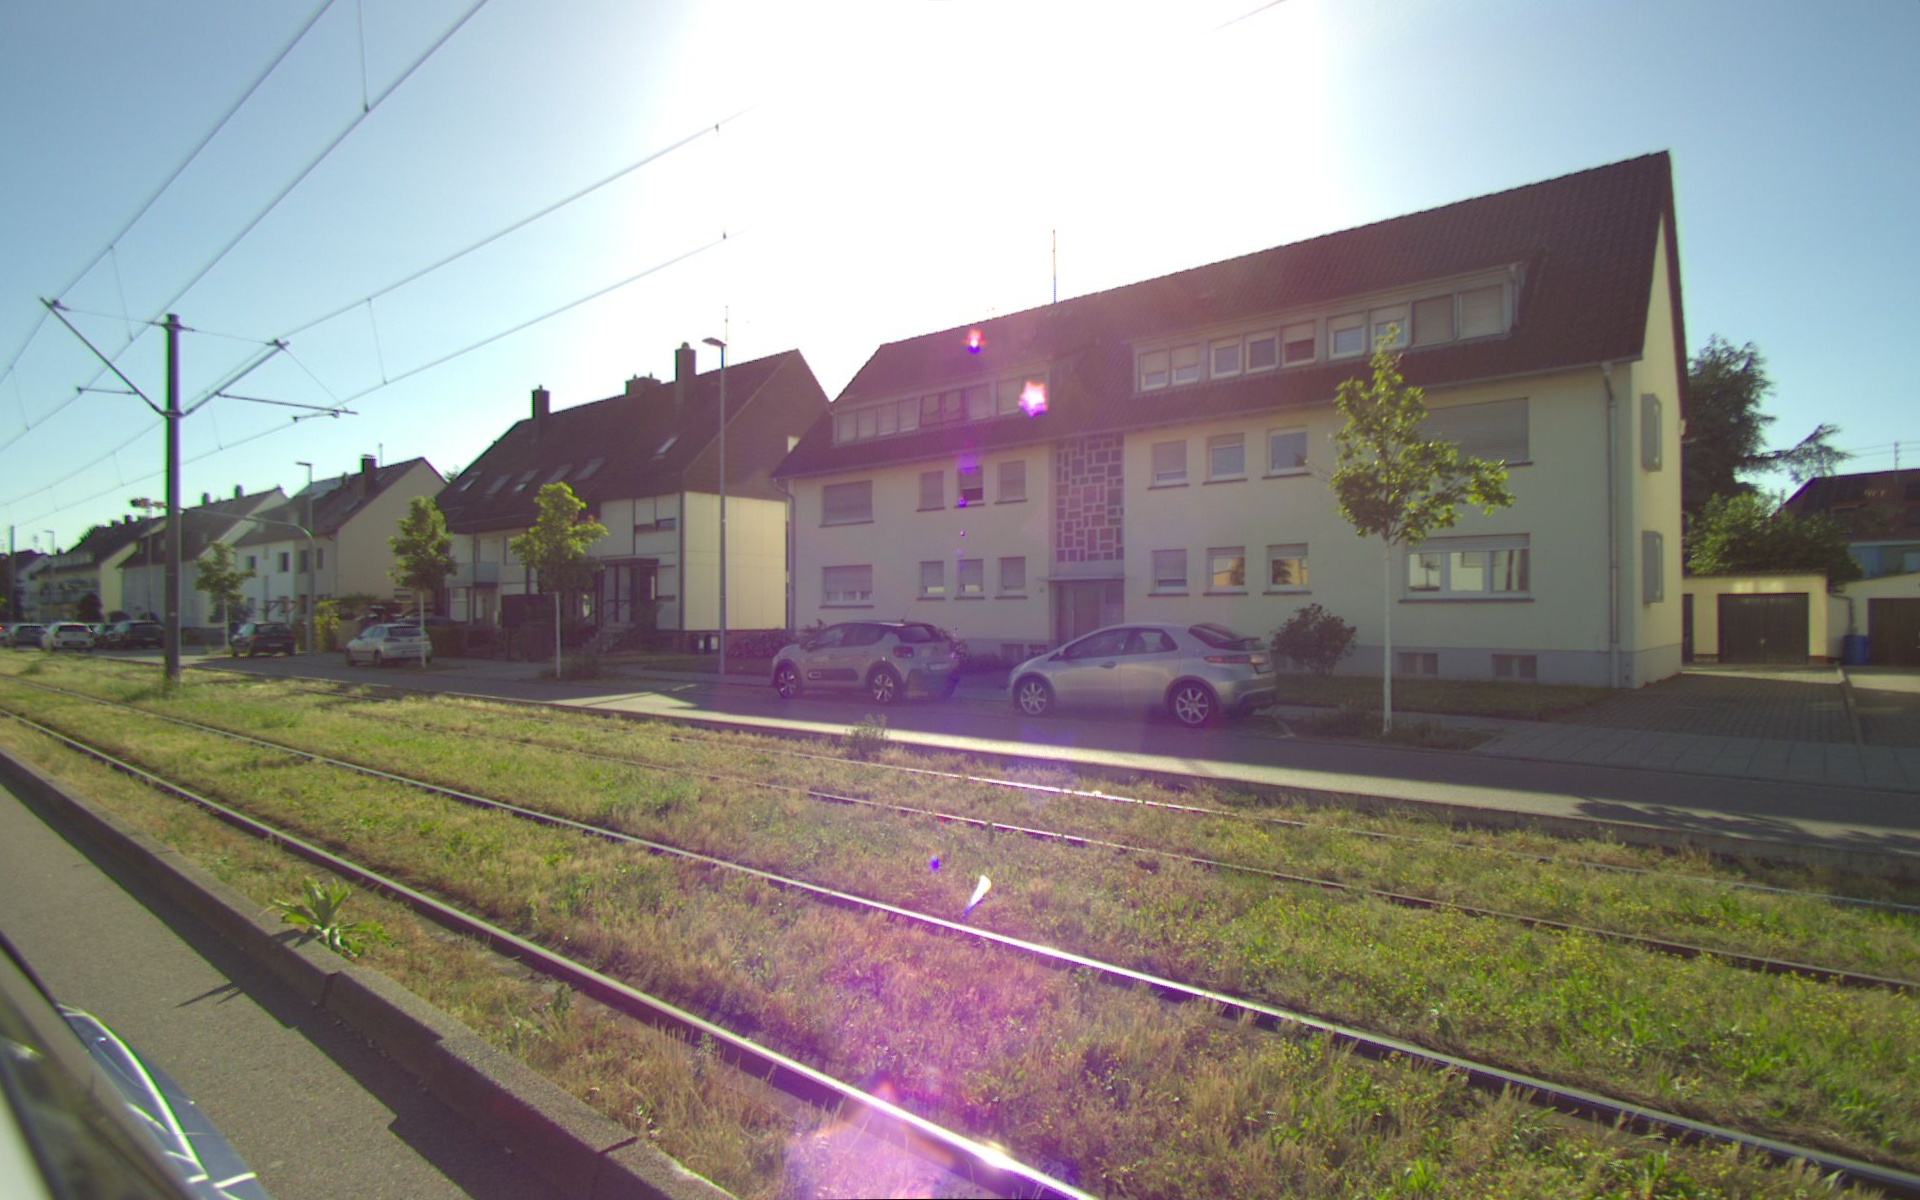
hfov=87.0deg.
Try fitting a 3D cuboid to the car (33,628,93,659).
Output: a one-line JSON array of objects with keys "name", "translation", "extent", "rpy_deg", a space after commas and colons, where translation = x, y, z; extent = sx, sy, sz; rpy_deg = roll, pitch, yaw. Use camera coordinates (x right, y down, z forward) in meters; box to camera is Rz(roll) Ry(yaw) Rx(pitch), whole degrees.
[{"name": "car", "translation": [-44.884, 2.151, 50.629], "extent": [3.676, 1.487, 1.671], "rpy_deg": [-1, -3, 40]}]

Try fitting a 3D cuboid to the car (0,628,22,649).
[{"name": "car", "translation": [-74.870, 2.992, 79.076], "extent": [4.089, 1.542, 1.809], "rpy_deg": [-1, 0, 40]}]

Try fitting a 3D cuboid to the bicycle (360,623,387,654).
[{"name": "bicycle", "translation": [-23.207, 1.502, 40.024], "extent": [0.471, 1.172, 1.873], "rpy_deg": [-1, 0, -44]}]

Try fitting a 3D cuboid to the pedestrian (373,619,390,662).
[{"name": "pedestrian", "translation": [-23.546, 1.642, 41.198], "extent": [0.544, 1.701, 0.625], "rpy_deg": [-1, 0, -35]}]

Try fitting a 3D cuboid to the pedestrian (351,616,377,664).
[{"name": "pedestrian", "translation": [-23.477, 1.568, 39.846], "extent": [0.676, 1.829, 0.611], "rpy_deg": [-1, 0, 32]}]

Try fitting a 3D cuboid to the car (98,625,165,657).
[{"name": "car", "translation": [-45.850, 2.223, 55.985], "extent": [4.853, 1.572, 1.902], "rpy_deg": [-1, 0, 39]}]

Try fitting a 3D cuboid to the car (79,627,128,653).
[{"name": "car", "translation": [-50.093, 2.352, 59.152], "extent": [3.994, 1.479, 1.451], "rpy_deg": [-2, -2, 39]}]

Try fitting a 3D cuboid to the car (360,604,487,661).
[{"name": "car", "translation": [-22.972, 1.344, 43.481], "extent": [1.786, 2.096, 4.415], "rpy_deg": [-1, 2, 41]}]

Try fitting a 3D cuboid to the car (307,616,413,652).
[{"name": "car", "translation": [-31.203, 1.753, 52.729], "extent": [1.968, 1.797, 4.348], "rpy_deg": [-2, -2, 40]}]

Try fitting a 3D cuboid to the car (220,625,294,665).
[{"name": "car", "translation": [-29.390, 1.843, 42.292], "extent": [4.083, 1.523, 1.602], "rpy_deg": [-2, 0, 41]}]

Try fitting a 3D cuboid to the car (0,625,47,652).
[{"name": "car", "translation": [-56.008, 2.275, 60.423], "extent": [4.079, 1.486, 1.672], "rpy_deg": [-1, 0, 40]}]

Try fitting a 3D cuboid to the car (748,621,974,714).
[{"name": "car", "translation": [-1.938, 1.179, 19.010], "extent": [4.311, 1.484, 1.672], "rpy_deg": [-1, 0, 40]}]

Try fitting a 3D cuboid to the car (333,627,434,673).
[{"name": "car", "translation": [-19.538, 1.655, 34.243], "extent": [4.099, 1.447, 1.641], "rpy_deg": [-1, -1, 40]}]

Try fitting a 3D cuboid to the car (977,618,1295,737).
[{"name": "car", "translation": [2.514, 1.045, 15.155], "extent": [4.439, 1.486, 1.672], "rpy_deg": [-1, 0, 40]}]
